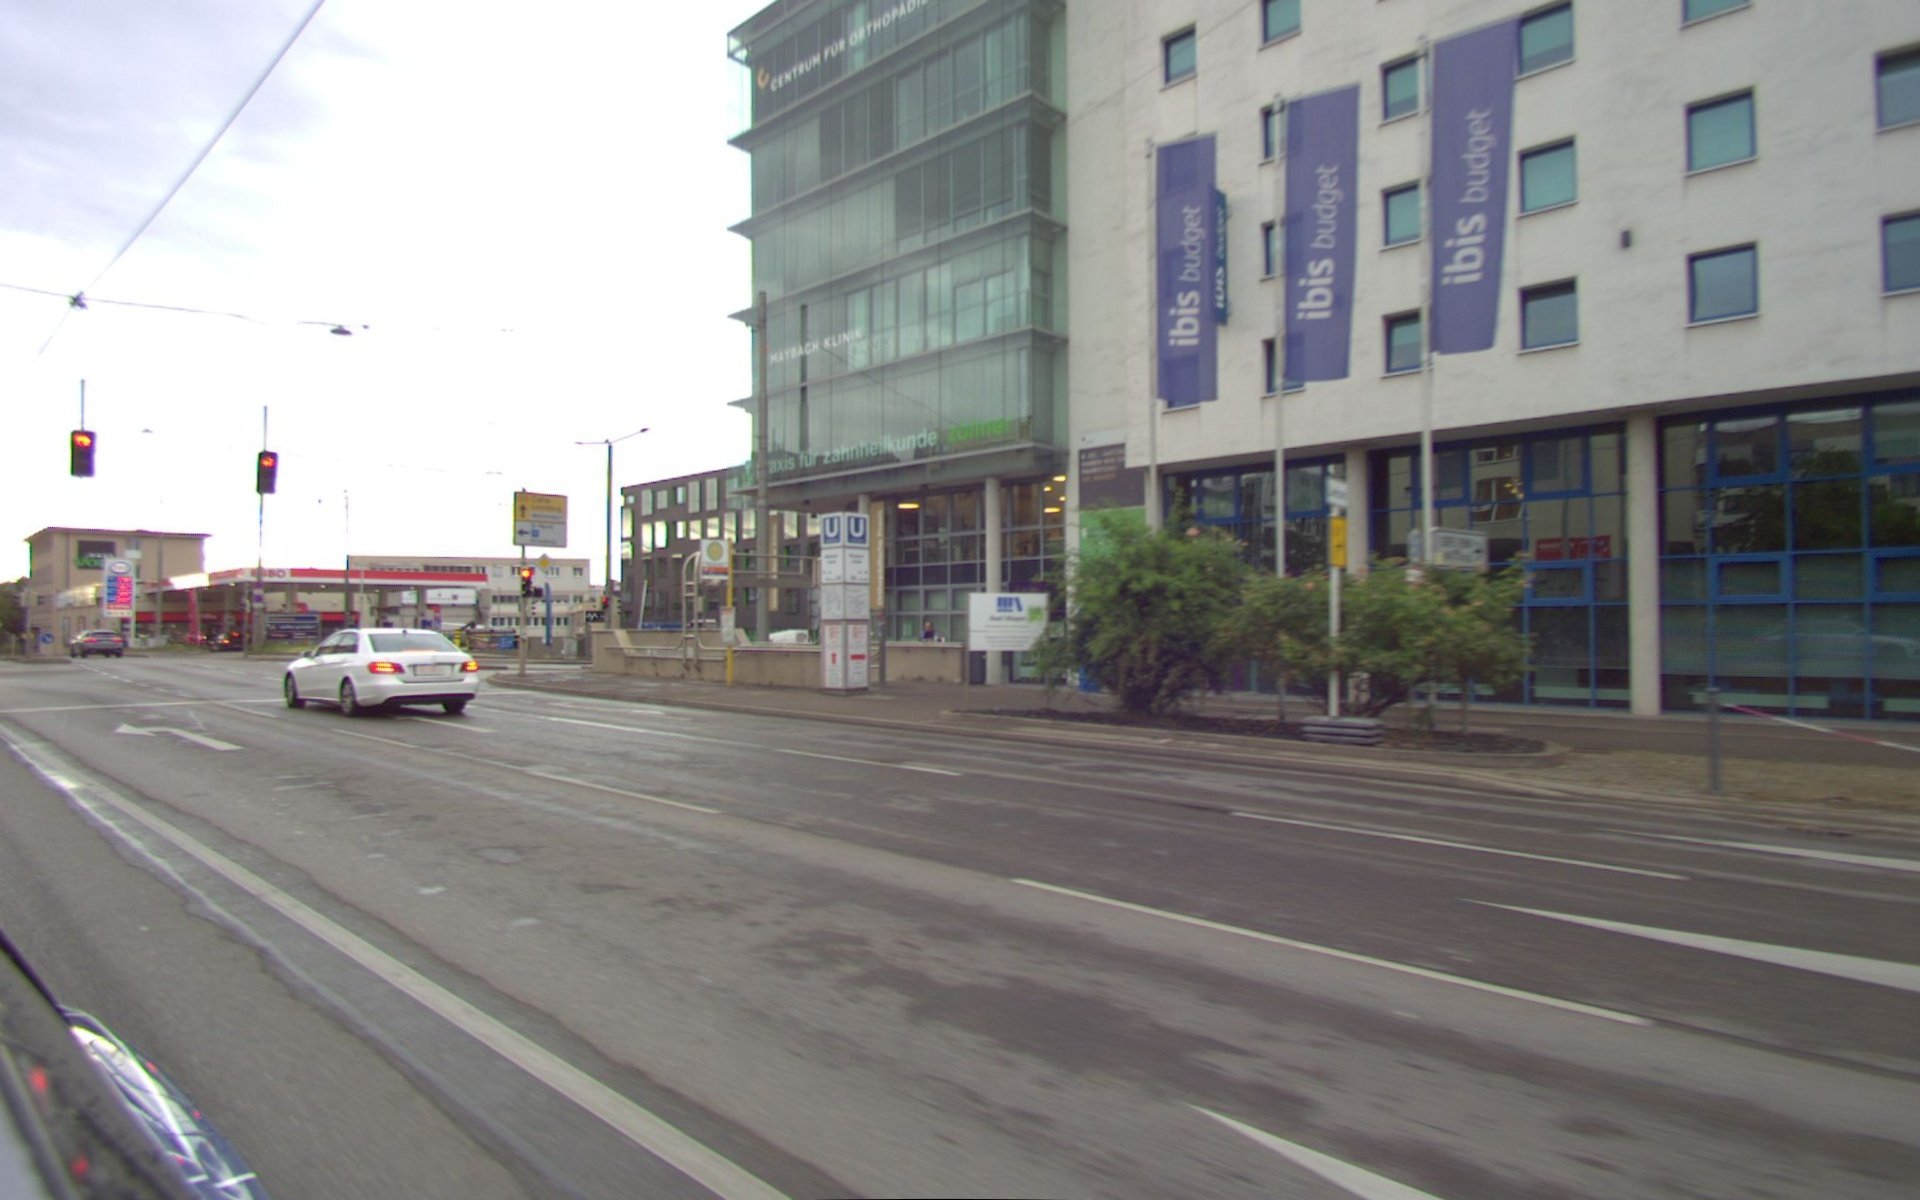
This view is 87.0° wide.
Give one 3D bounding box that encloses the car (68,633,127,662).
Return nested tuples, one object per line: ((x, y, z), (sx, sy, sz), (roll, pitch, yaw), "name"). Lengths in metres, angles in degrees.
((-50.942, 2.776, 59.752), (4.206, 1.644, 1.889), (-1, -2, 39), "car")

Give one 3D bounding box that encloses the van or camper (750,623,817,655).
((-14.712, 3.250, 84.253), (5.346, 2.386, 2.701), (1, -2, 42), "van or camper")

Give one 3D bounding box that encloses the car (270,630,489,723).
((-10.293, 1.240, 17.764), (4.960, 1.397, 1.798), (-1, -2, 41), "car")
